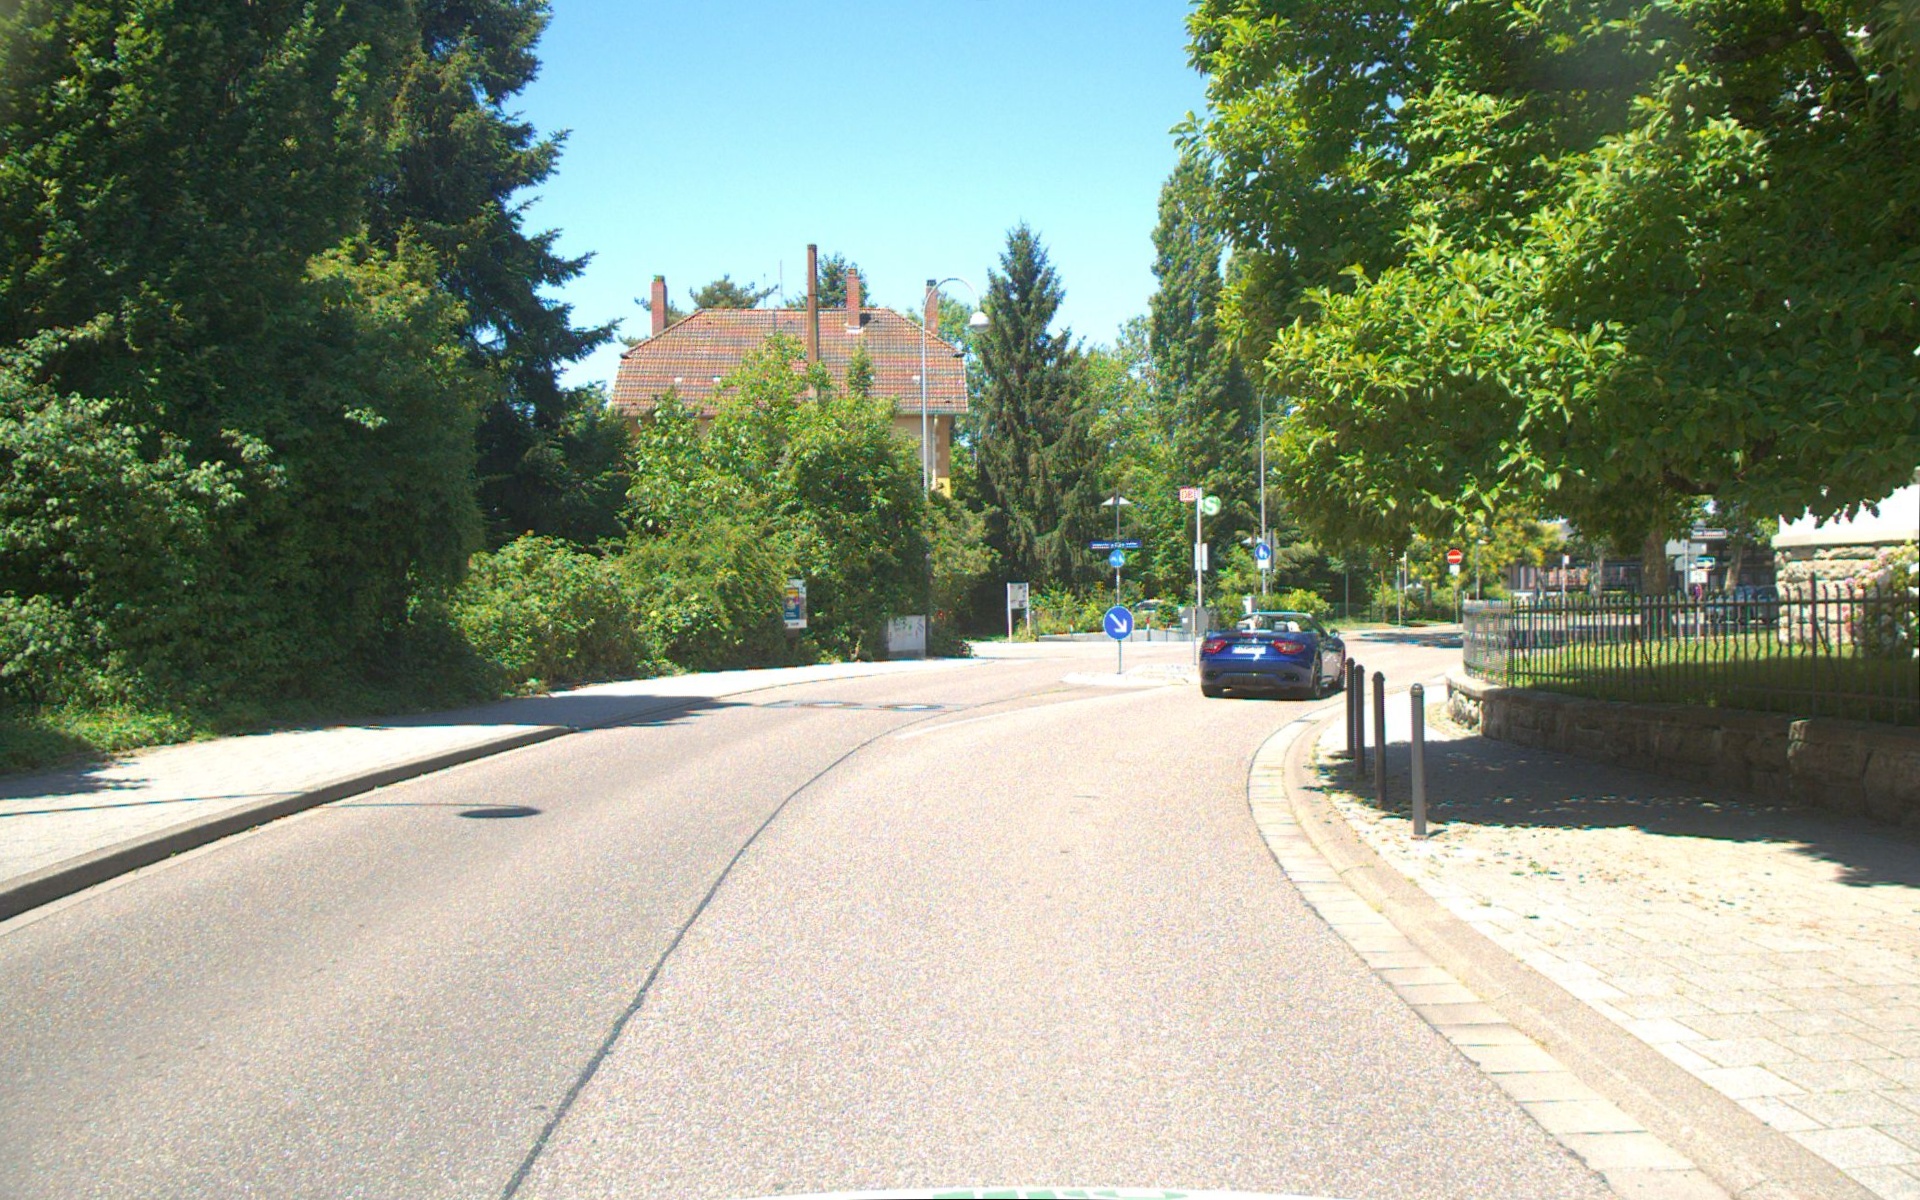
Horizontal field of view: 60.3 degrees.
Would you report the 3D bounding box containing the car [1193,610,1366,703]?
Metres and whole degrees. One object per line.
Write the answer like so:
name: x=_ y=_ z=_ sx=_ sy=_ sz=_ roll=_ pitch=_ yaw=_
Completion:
car: x=5.431 y=0.876 z=27.605 sx=1.790 sy=1.360 sz=4.697 roll=2 pitch=0 yaw=24
